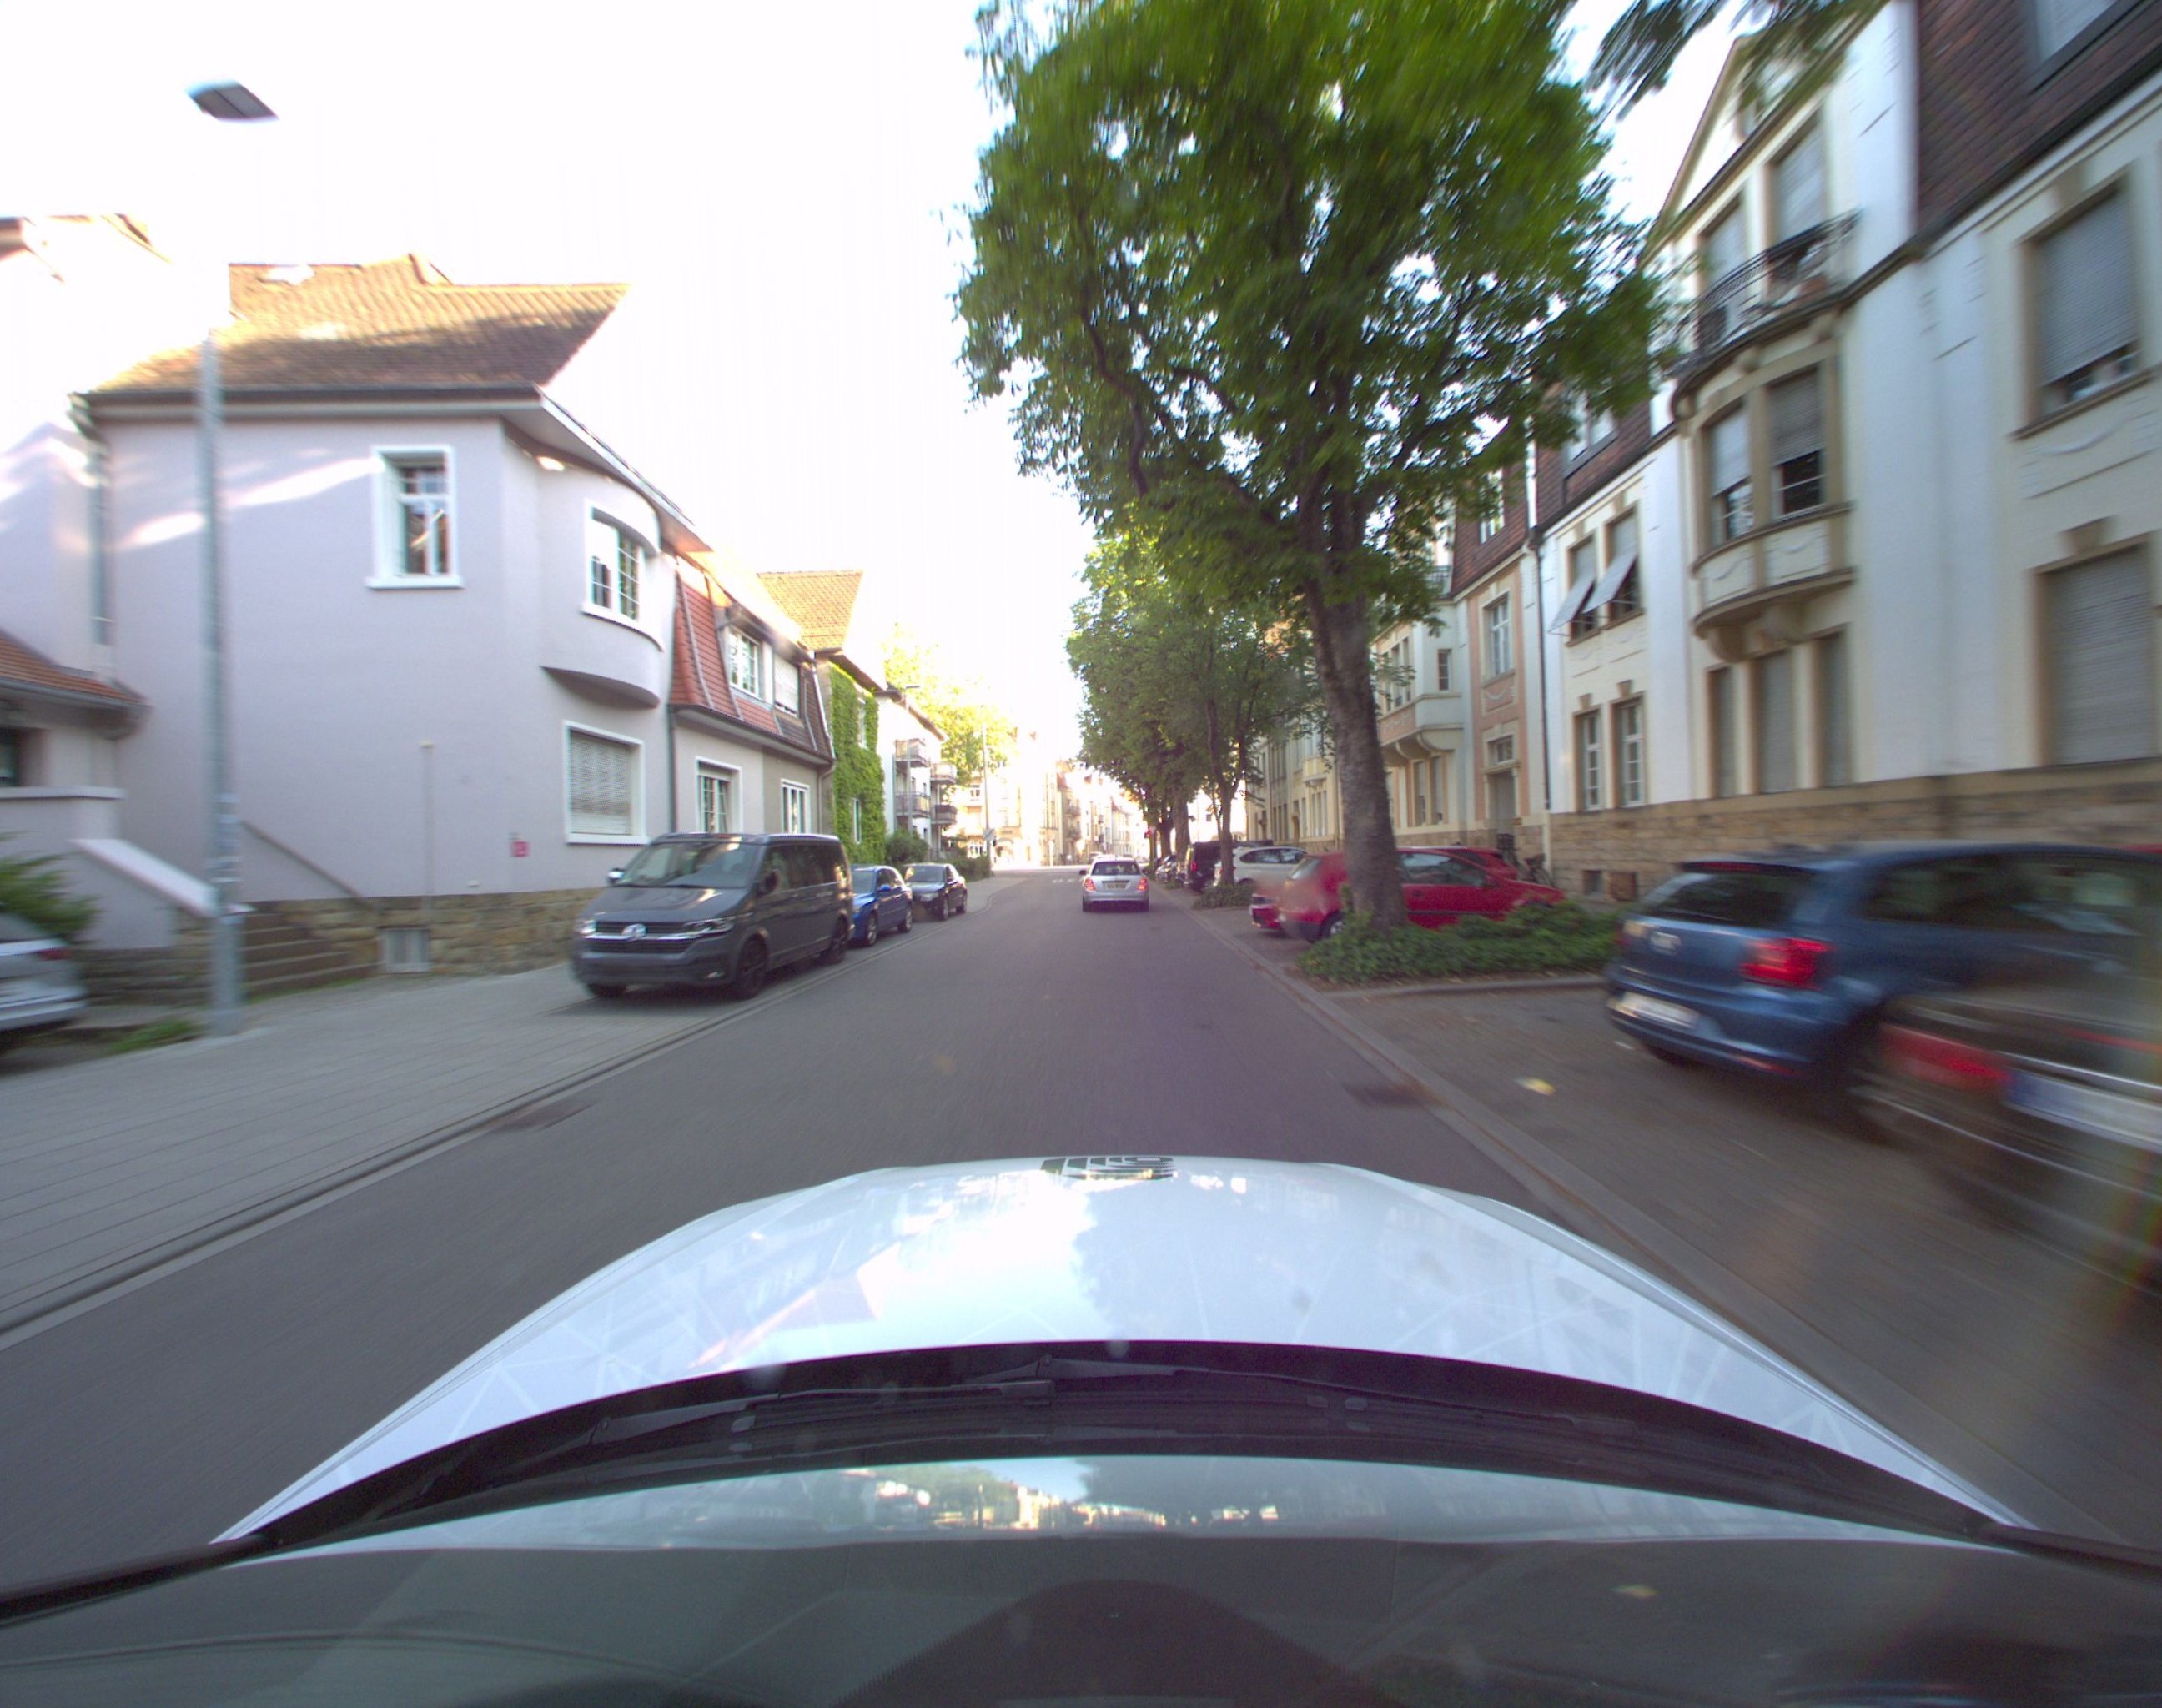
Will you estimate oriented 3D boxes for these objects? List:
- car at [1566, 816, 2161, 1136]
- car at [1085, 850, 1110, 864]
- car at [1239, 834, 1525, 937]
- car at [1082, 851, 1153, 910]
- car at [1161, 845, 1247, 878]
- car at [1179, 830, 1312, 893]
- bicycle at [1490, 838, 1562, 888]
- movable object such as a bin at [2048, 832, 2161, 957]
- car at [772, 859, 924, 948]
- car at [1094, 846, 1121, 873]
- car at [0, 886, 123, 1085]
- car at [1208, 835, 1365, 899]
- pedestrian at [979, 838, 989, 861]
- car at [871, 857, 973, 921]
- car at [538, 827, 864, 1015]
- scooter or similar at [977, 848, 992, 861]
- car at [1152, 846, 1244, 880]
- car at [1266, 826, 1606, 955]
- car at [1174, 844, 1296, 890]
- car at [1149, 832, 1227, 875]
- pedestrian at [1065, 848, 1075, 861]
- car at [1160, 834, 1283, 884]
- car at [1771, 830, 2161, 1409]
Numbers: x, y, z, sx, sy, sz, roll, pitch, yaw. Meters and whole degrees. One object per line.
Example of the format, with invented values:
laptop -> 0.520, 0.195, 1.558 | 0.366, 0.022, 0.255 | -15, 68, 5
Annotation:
car -> 5.152, 0.568, 4.656 | 3.776, 1.483, 1.562 | -2, 0, 3
car -> 2.080, 0.376, 101.540 | 1.978, 1.585, 4.019 | -2, 1, 18
car -> 5.178, 0.526, 14.538 | 4.391, 1.419, 1.879 | -4, 0, 4
car -> 1.007, 0.674, 22.543 | 1.777, 1.437, 3.853 | -1, 0, 3
car -> 6.483, 0.393, 43.291 | 4.275, 1.541, 1.899 | -2, 1, -1
car -> 5.703, 0.239, 28.619 | 4.206, 1.896, 1.905 | -4, 0, 0
bicycle -> 10.041, 0.184, 18.462 | 0.472, 1.056, 2.046 | -4, 0, 1
movable object such as a bin -> 9.634, 0.356, 7.516 | 0.697, 1.049, 0.541 | -6, 0, 1
car -> -4.476, 0.876, 16.301 | 1.647, 1.447, 4.240 | -1, 1, 2
car -> 1.720, 0.328, 52.305 | 1.617, 1.569, 3.683 | -2, 1, 3
car -> -10.053, 1.069, 5.997 | 3.853, 1.443, 1.634 | -2, 1, -2
car -> 5.934, 0.365, 23.896 | 4.095, 1.571, 1.878 | -4, 0, 2
pedestrian -> -8.231, -0.386, 69.026 | 0.641, 1.866, 0.410 | -4, 1, -2
car -> -4.121, 0.858, 21.838 | 1.688, 1.447, 4.360 | -1, 1, 2
car -> -4.642, 0.671, 10.981 | 1.975, 1.947, 4.853 | -1, 1, 1
scooter or similar -> -8.171, 0.030, 69.031 | 1.172, 1.052, 0.409 | -4, 1, -2
car -> 5.801, 0.439, 40.811 | 4.275, 1.417, 1.876 | -3, 1, -1
car -> 5.024, 0.498, 12.027 | 4.171, 1.475, 1.854 | -4, 0, 4
car -> 5.798, 0.464, 31.076 | 4.275, 1.541, 1.876 | -2, 1, -1
car -> 6.365, -0.056, 48.717 | 4.375, 2.364, 2.000 | -2, 1, -1
pedestrian -> -1.531, 0.062, 112.113 | 1.215, 1.721, 1.505 | -1, 0, 5
car -> 6.126, 0.206, 35.873 | 5.038, 1.989, 2.072 | -2, 1, -1
car -> 4.605, 0.615, 2.270 | 3.779, 1.438, 1.818 | -2, 0, 1
